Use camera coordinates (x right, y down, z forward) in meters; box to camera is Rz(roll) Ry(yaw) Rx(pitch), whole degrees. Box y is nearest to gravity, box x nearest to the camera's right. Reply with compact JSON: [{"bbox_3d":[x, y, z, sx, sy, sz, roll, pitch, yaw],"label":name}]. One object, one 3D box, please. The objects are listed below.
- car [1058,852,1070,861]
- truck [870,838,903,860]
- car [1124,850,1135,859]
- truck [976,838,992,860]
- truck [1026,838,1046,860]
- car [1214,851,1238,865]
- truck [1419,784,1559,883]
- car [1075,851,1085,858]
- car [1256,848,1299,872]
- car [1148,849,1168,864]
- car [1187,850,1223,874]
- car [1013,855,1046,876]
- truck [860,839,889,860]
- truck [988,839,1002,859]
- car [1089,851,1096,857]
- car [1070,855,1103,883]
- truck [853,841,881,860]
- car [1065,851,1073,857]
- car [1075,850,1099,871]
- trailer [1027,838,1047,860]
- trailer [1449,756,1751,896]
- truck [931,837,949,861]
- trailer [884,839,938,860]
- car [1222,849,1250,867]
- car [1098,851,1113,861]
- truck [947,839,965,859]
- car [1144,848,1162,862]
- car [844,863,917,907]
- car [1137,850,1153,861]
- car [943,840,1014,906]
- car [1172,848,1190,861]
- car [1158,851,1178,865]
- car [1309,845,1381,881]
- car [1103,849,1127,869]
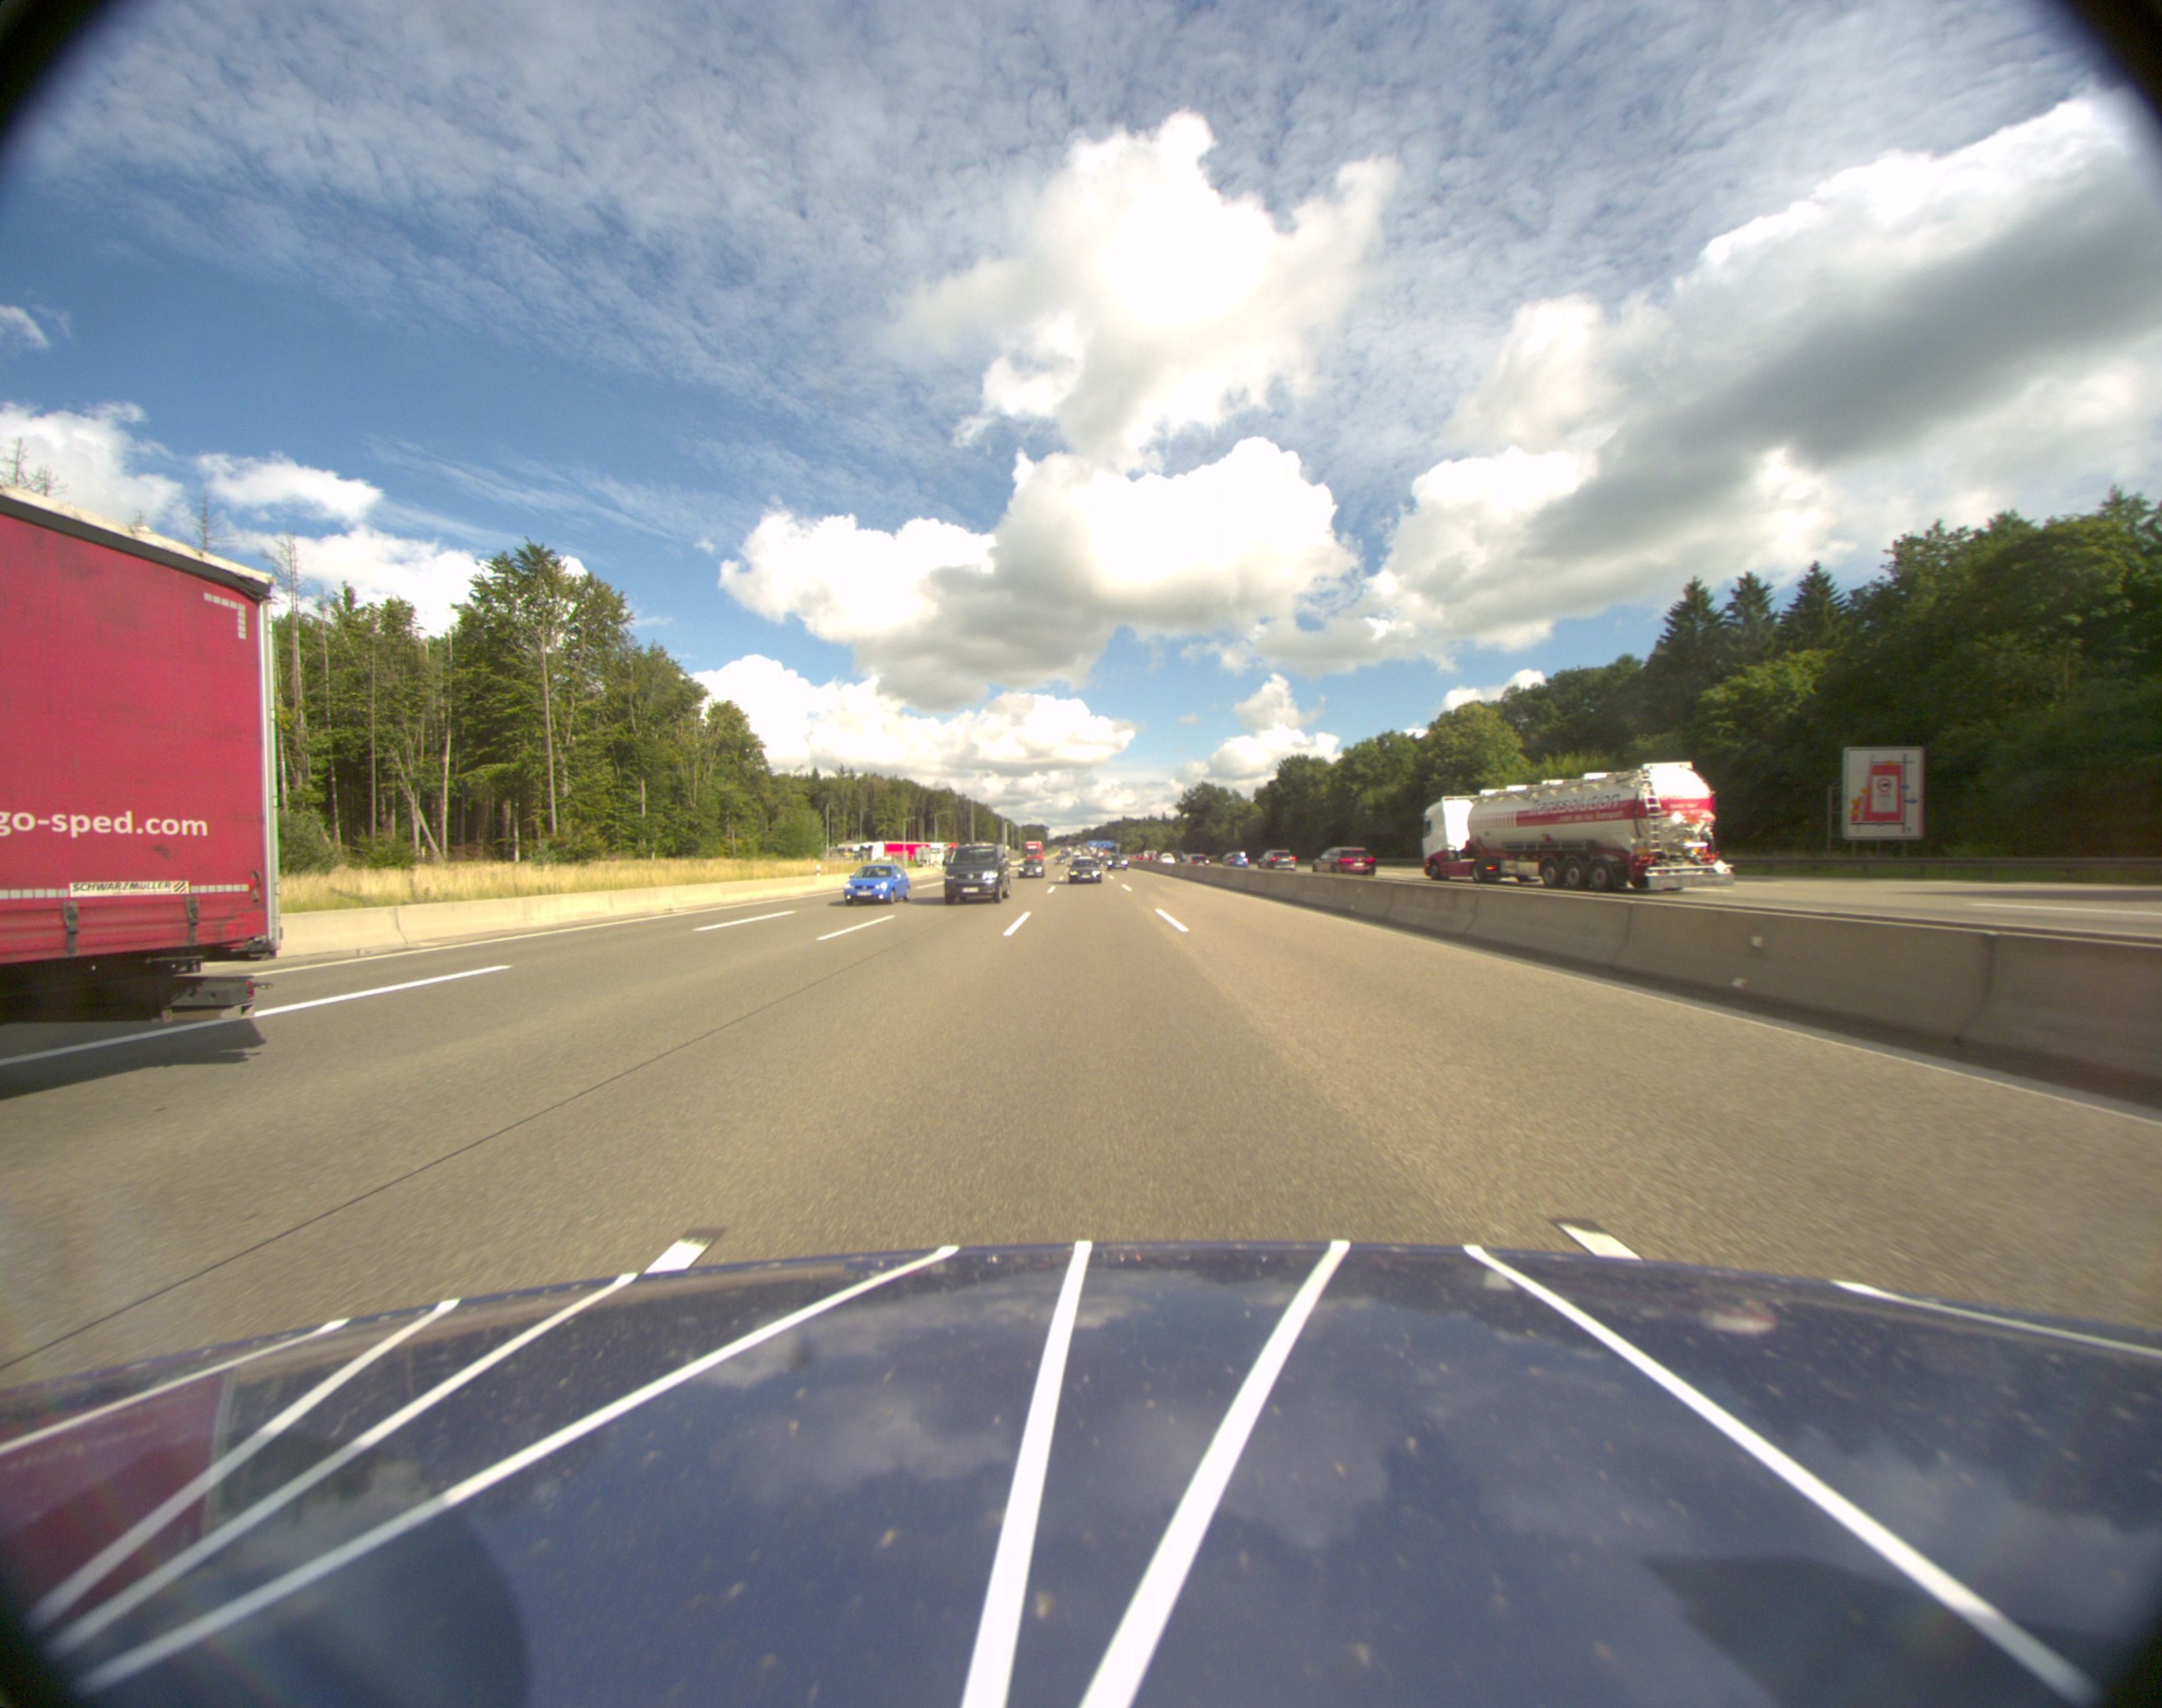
[{"bbox_3d":[-3.274,0.458,145.507,2.153,1.540,4.676,-1,0,0],"label":"car"},{"bbox_3d":[-41.110,-0.992,160.528,6.109,4.481,2.873,-2,1,-44],"label":"truck"},{"bbox_3d":[9.324,0.144,144.970,1.746,1.608,4.549,-1,0,0],"label":"car"},{"bbox_3d":[-21.434,-1.104,168.147,2.661,4.896,6.984,0,0,-1],"label":"truck"},{"bbox_3d":[-7.653,-0.848,130.110,3.018,3.662,7.559,-1,0,-2],"label":"truck"},{"bbox_3d":[16.328,0.422,85.809,1.859,1.551,4.284,-1,0,0],"label":"car"},{"bbox_3d":[17.896,-0.834,33.896,2.795,3.922,6.445,-1,0,1],"label":"truck"},{"bbox_3d":[-0.214,0.086,166.251,2.153,1.540,4.676,-1,0,0],"label":"car"},{"bbox_3d":[14.185,0.410,55.094,1.864,1.610,4.747,-1,0,0],"label":"car"},{"bbox_3d":[10.256,0.315,101.916,2.177,1.790,4.876,-1,0,0],"label":"car"},{"bbox_3d":[10.395,0.639,63.891,2.177,1.867,4.980,0,0,0],"label":"car"},{"bbox_3d":[-3.853,0.848,57.927,2.153,1.426,5.098,-1,0,0],"label":"car"},{"bbox_3d":[-44.263,-0.953,162.811,5.133,4.482,2.889,-1,1,-44],"label":"truck"},{"bbox_3d":[-21.490,-1.263,189.843,2.661,4.896,7.261,0,0,-1],"label":"truck"},{"bbox_3d":[3.449,0.020,231.628,1.892,1.783,3.999,0,0,0],"label":"car"},{"bbox_3d":[0.291,0.805,43.380,1.733,1.500,4.728,-2,0,0],"label":"car"},{"bbox_3d":[-46.524,-0.762,165.054,5.181,4.093,2.565,-1,1,-44],"label":"truck"},{"bbox_3d":[-3.388,-0.009,216.371,2.153,1.540,4.676,-1,0,0],"label":"car"},{"bbox_3d":[0.601,0.602,70.807,2.152,1.800,5.099,-2,1,2],"label":"car"},{"bbox_3d":[-7.845,-0.893,136.336,3.018,3.662,13.573,-1,0,-2],"label":"trailer"},{"bbox_3d":[17.795,-0.817,27.831,2.794,3.922,12.252,-1,0,1],"label":"trailer"},{"bbox_3d":[-27.686,-0.979,149.229,2.880,4.480,7.173,0,0,-6],"label":"truck"},{"bbox_3d":[-36.784,-1.045,164.694,11.406,4.348,2.837,-2,1,-44],"label":"trailer"},{"bbox_3d":[13.973,0.352,68.656,1.633,1.503,3.999,-1,0,-2],"label":"car"},{"bbox_3d":[3.852,0.261,121.289,2.153,1.540,4.676,-1,0,0],"label":"car"},{"bbox_3d":[-28.520,-1.132,173.503,2.879,4.480,7.035,-1,0,0],"label":"truck"},{"bbox_3d":[10.733,0.095,113.244,2.164,2.002,5.822,0,0,0],"label":"car"},{"bbox_3d":[-7.266,1.083,27.924,1.654,1.433,3.999,-1,0,-1],"label":"car"},{"bbox_3d":[10.184,0.272,121.510,2.177,1.608,4.549,-1,0,0],"label":"car"},{"bbox_3d":[-3.579,0.614,27.387,1.854,2.097,4.932,-2,0,0],"label":"car"},{"bbox_3d":[14.977,0.101,113.881,1.998,1.794,5.125,-1,0,0],"label":"car"},{"bbox_3d":[10.478,0.478,91.501,1.918,1.631,4.241,0,0,0],"label":"car"},{"bbox_3d":[13.394,0.427,38.946,1.859,1.660,5.210,-1,0,0],"label":"car"},{"bbox_3d":[3.385,0.479,76.436,2.153,1.800,5.098,-2,1,0],"label":"car"}]
